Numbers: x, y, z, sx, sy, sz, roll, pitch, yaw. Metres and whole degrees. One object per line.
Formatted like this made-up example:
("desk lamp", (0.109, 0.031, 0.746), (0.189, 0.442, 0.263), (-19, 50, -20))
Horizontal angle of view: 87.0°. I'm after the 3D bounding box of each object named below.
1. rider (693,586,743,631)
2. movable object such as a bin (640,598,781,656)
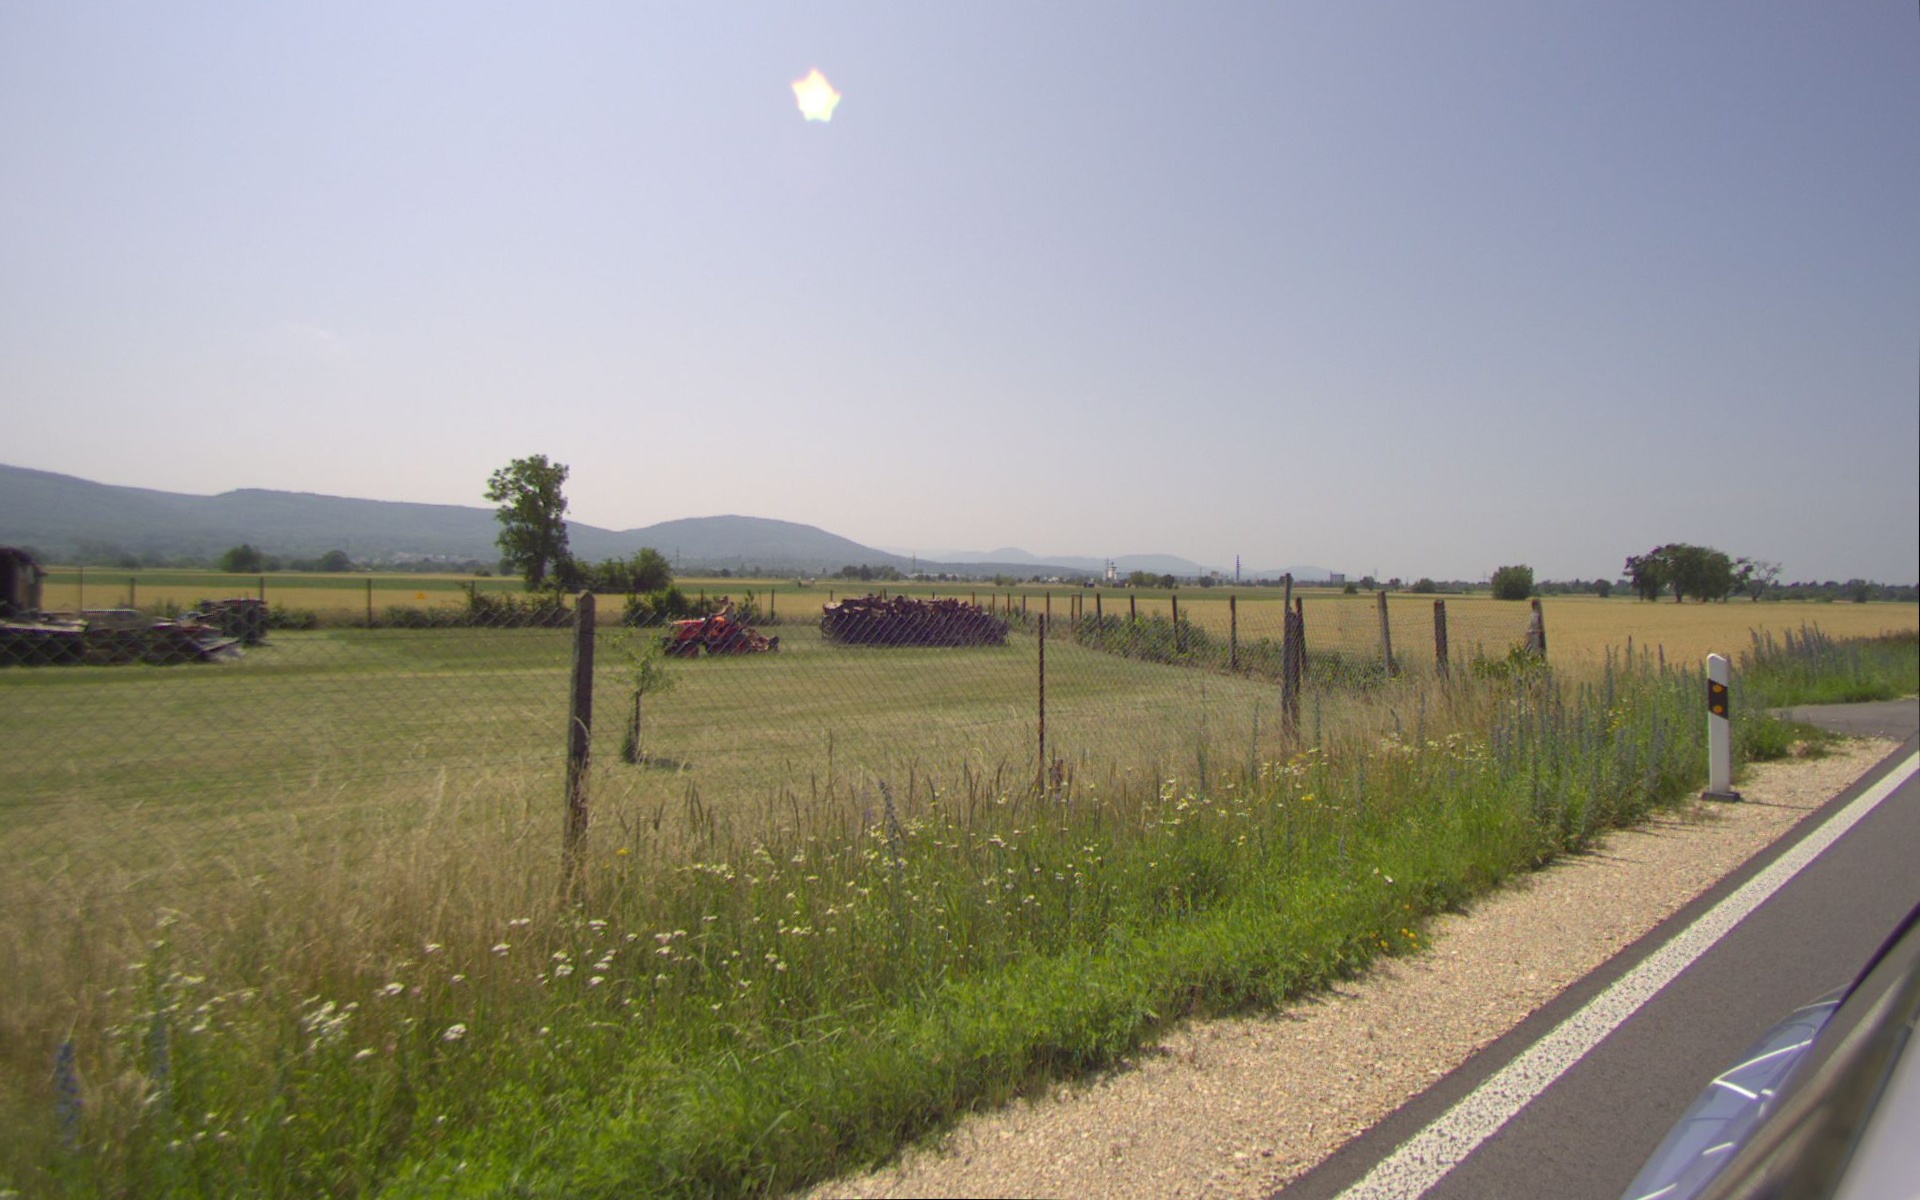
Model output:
("rider", (-6.813, 0.217, 28.475), (1.024, 1.233, 0.970), (1, 0, 44))
("movable object such as a bin", (-7.019, 0.716, 28.626), (1.571, 1.515, 3.600), (1, 1, 45))
